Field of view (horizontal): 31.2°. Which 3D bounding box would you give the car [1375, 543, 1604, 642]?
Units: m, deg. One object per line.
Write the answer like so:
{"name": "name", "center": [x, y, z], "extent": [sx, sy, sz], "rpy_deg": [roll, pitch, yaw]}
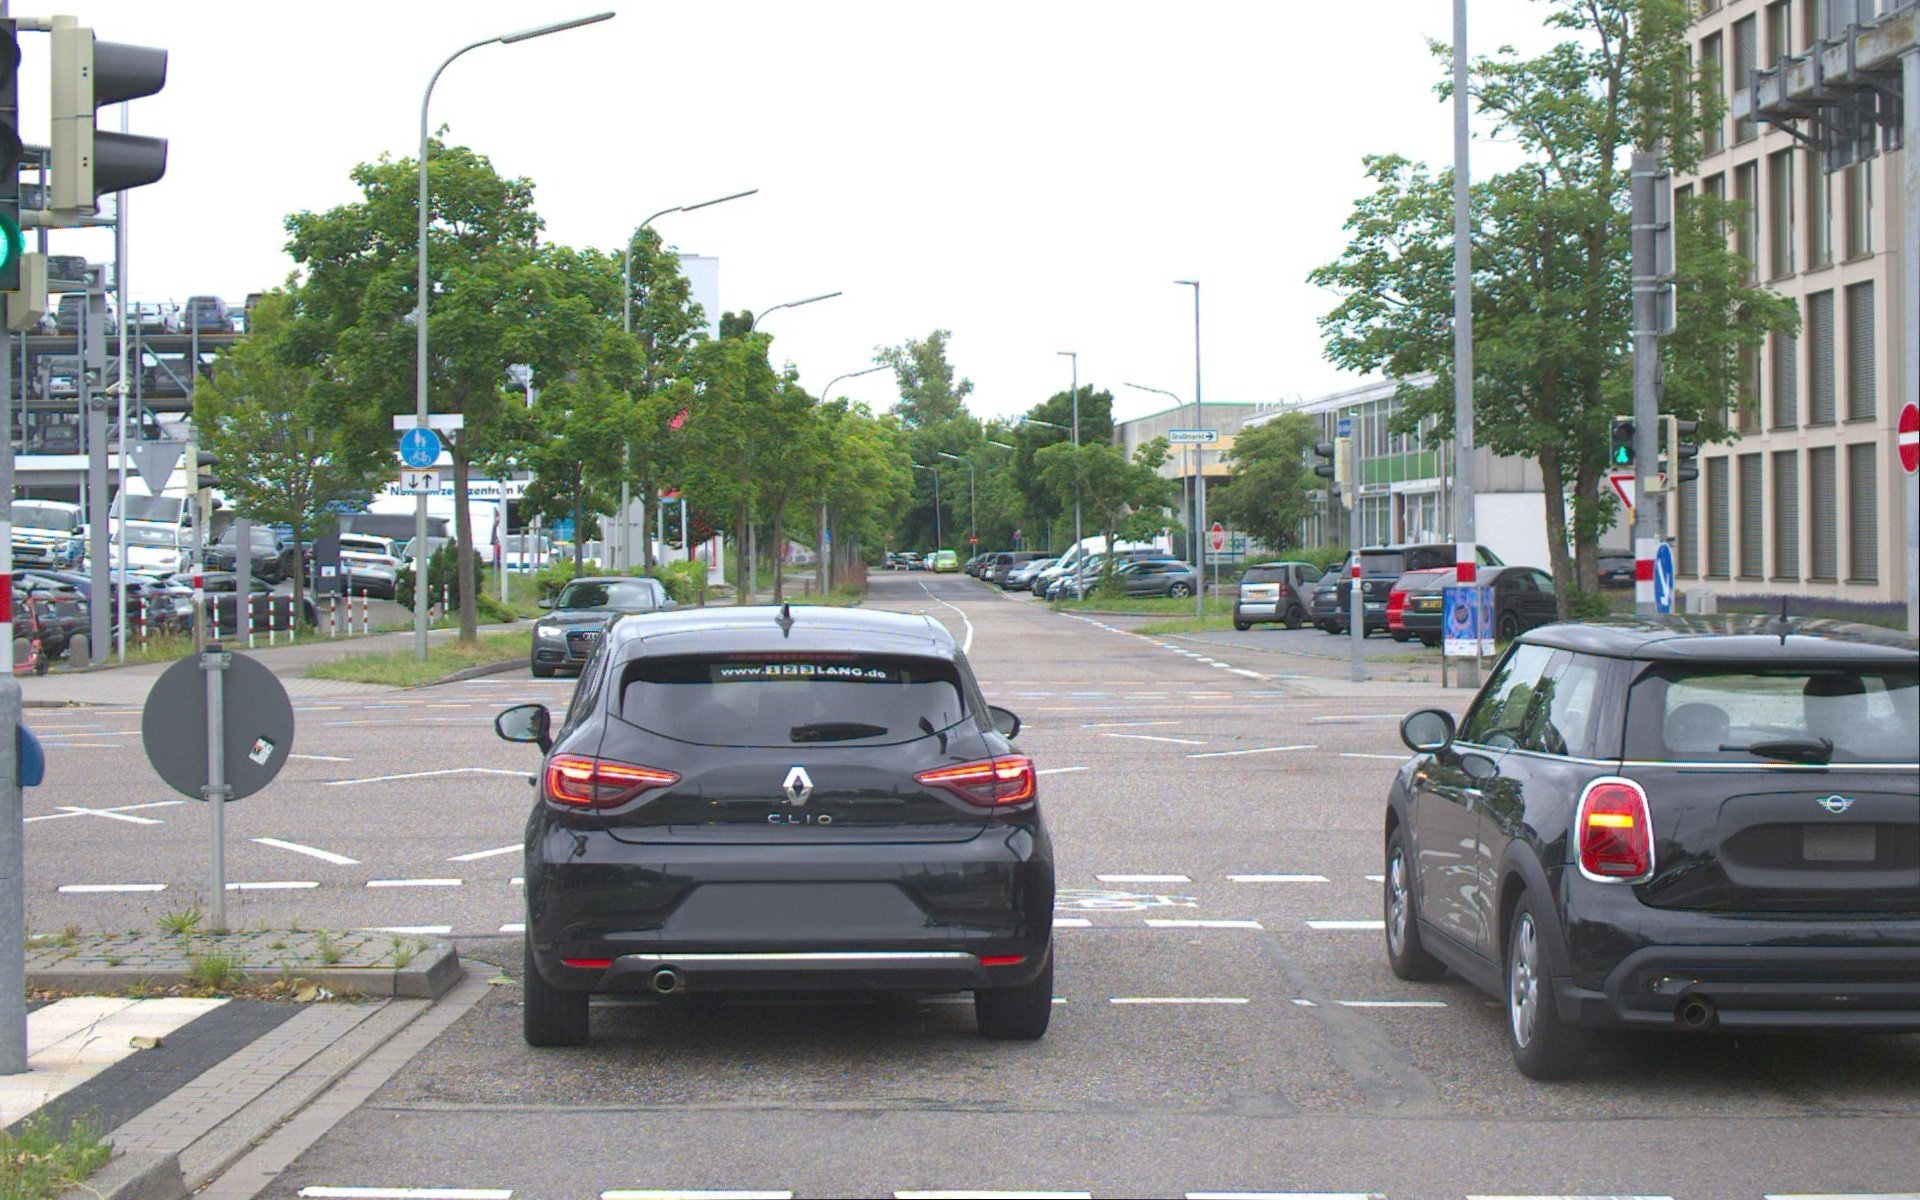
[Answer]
{"name": "car", "center": [9.731, -0.134, 63.015], "extent": [4.121, 1.762, 1.888], "rpy_deg": [0, 0, -40]}

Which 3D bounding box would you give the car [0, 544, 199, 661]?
{"name": "car", "center": [-16.731, 0.082, 63.584], "extent": [4.892, 2.007, 2.000], "rpy_deg": [-2, 0, -5]}

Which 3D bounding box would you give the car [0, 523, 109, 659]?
{"name": "car", "center": [-15.877, -0.054, 52.926], "extent": [5.022, 2.007, 2.266], "rpy_deg": [-2, 0, -5]}

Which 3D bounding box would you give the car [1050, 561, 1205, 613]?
{"name": "car", "center": [5.830, -0.442, 120.098], "extent": [5.173, 1.714, 2.144], "rpy_deg": [1, 0, -2]}

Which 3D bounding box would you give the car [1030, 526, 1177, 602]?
{"name": "car", "center": [6.151, -1.533, 147.958], "extent": [6.116, 3.106, 2.134], "rpy_deg": [1, 0, -1]}

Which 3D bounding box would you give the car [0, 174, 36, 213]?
{"name": "car", "center": [-48.653, -20.402, 172.922], "extent": [3.994, 1.662, 1.996], "rpy_deg": [1, 1, 32]}

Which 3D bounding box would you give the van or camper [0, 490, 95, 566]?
{"name": "van or camper", "center": [-21.433, -1.645, 79.706], "extent": [1.993, 1.645, 4.000], "rpy_deg": [1, 0, -4]}

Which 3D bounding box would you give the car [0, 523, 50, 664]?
{"name": "car", "center": [-15.823, -0.005, 49.918], "extent": [4.700, 2.007, 2.000], "rpy_deg": [-2, 0, -4]}

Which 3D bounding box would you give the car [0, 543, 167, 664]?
{"name": "car", "center": [-16.701, 0.101, 60.864], "extent": [4.892, 2.007, 2.000], "rpy_deg": [-2, 0, -5]}

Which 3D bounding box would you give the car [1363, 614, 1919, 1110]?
{"name": "car", "center": [2.515, 0.770, 11.762], "extent": [1.786, 1.411, 3.643], "rpy_deg": [1, 0, -1]}

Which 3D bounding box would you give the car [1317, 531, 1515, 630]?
{"name": "car", "center": [9.398, -0.385, 70.603], "extent": [1.998, 1.959, 4.235], "rpy_deg": [-1, 0, 41]}

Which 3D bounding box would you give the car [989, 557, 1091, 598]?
{"name": "car", "center": [4.125, -1.141, 178.547], "extent": [5.173, 2.007, 2.144], "rpy_deg": [1, 0, -1]}

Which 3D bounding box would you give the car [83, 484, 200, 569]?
{"name": "car", "center": [-18.966, -1.681, 79.832], "extent": [1.993, 1.817, 4.000], "rpy_deg": [1, 0, -4]}

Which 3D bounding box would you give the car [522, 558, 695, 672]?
{"name": "car", "center": [-5.001, 0.177, 49.507], "extent": [1.978, 1.546, 4.614], "rpy_deg": [0, 1, 0]}

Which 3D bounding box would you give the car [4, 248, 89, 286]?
{"name": "car", "center": [-46.811, -17.047, 176.101], "extent": [3.994, 1.662, 1.996], "rpy_deg": [1, 1, 32]}

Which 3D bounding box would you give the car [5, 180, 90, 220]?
{"name": "car", "center": [-46.810, -20.520, 176.275], "extent": [3.994, 1.662, 1.996], "rpy_deg": [1, 1, 32]}

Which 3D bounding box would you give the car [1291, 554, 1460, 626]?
{"name": "car", "center": [8.969, -0.217, 74.007], "extent": [1.696, 1.506, 3.808], "rpy_deg": [0, 0, 43]}

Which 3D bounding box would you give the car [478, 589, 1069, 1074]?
{"name": "car", "center": [-0.583, 0.707, 12.377], "extent": [1.757, 1.430, 4.000], "rpy_deg": [1, 0, -1]}

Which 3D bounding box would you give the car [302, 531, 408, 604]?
{"name": "car", "center": [-14.122, -0.736, 80.414], "extent": [1.993, 1.612, 4.000], "rpy_deg": [1, 0, -4]}

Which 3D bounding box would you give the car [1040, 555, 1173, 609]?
{"name": "car", "center": [5.469, -0.670, 128.607], "extent": [4.785, 1.885, 2.144], "rpy_deg": [1, 0, -2]}

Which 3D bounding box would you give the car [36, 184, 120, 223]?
{"name": "car", "center": [-45.713, -20.539, 178.218], "extent": [3.994, 1.662, 1.996], "rpy_deg": [1, 1, 32]}

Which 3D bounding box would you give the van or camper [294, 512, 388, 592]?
{"name": "van or camper", "center": [-16.394, -1.253, 91.246], "extent": [1.993, 2.007, 4.000], "rpy_deg": [1, 0, -4]}

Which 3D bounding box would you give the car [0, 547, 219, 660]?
{"name": "car", "center": [-16.968, 0.091, 66.415], "extent": [4.892, 2.007, 2.000], "rpy_deg": [-2, 0, -5]}

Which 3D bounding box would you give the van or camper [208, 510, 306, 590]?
{"name": "van or camper", "center": [-18.593, -1.296, 91.056], "extent": [1.993, 2.007, 4.000], "rpy_deg": [1, 0, -4]}

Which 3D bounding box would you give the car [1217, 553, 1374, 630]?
{"name": "car", "center": [7.859, -0.199, 80.319], "extent": [3.424, 1.726, 1.765], "rpy_deg": [1, 0, -42]}

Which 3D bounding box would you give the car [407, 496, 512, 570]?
{"name": "car", "center": [-11.764, -1.568, 81.016], "extent": [1.993, 1.612, 4.000], "rpy_deg": [1, 0, -2]}

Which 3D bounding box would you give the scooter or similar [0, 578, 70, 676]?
{"name": "scooter or similar", "center": [-12.213, 0.335, 44.678], "extent": [0.557, 1.214, 1.559], "rpy_deg": [2, 1, 13]}

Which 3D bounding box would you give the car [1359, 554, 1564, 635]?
{"name": "car", "center": [9.852, -0.104, 67.402], "extent": [1.887, 1.546, 4.122], "rpy_deg": [0, 0, 45]}

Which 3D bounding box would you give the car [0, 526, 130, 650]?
{"name": "car", "center": [-16.606, -0.143, 58.047], "extent": [4.772, 2.007, 2.000], "rpy_deg": [-2, 0, -6]}

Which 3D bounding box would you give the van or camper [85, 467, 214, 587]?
{"name": "van or camper", "center": [-21.419, -1.895, 91.083], "extent": [2.535, 3.016, 4.844], "rpy_deg": [1, 0, -4]}

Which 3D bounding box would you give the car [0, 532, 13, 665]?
{"name": "car", "center": [-15.691, 0.065, 47.348], "extent": [4.771, 1.856, 2.000], "rpy_deg": [-2, 0, -5]}

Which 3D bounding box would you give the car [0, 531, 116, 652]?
{"name": "car", "center": [-16.327, -0.064, 55.554], "extent": [4.945, 1.870, 2.054], "rpy_deg": [-2, 0, -6]}
